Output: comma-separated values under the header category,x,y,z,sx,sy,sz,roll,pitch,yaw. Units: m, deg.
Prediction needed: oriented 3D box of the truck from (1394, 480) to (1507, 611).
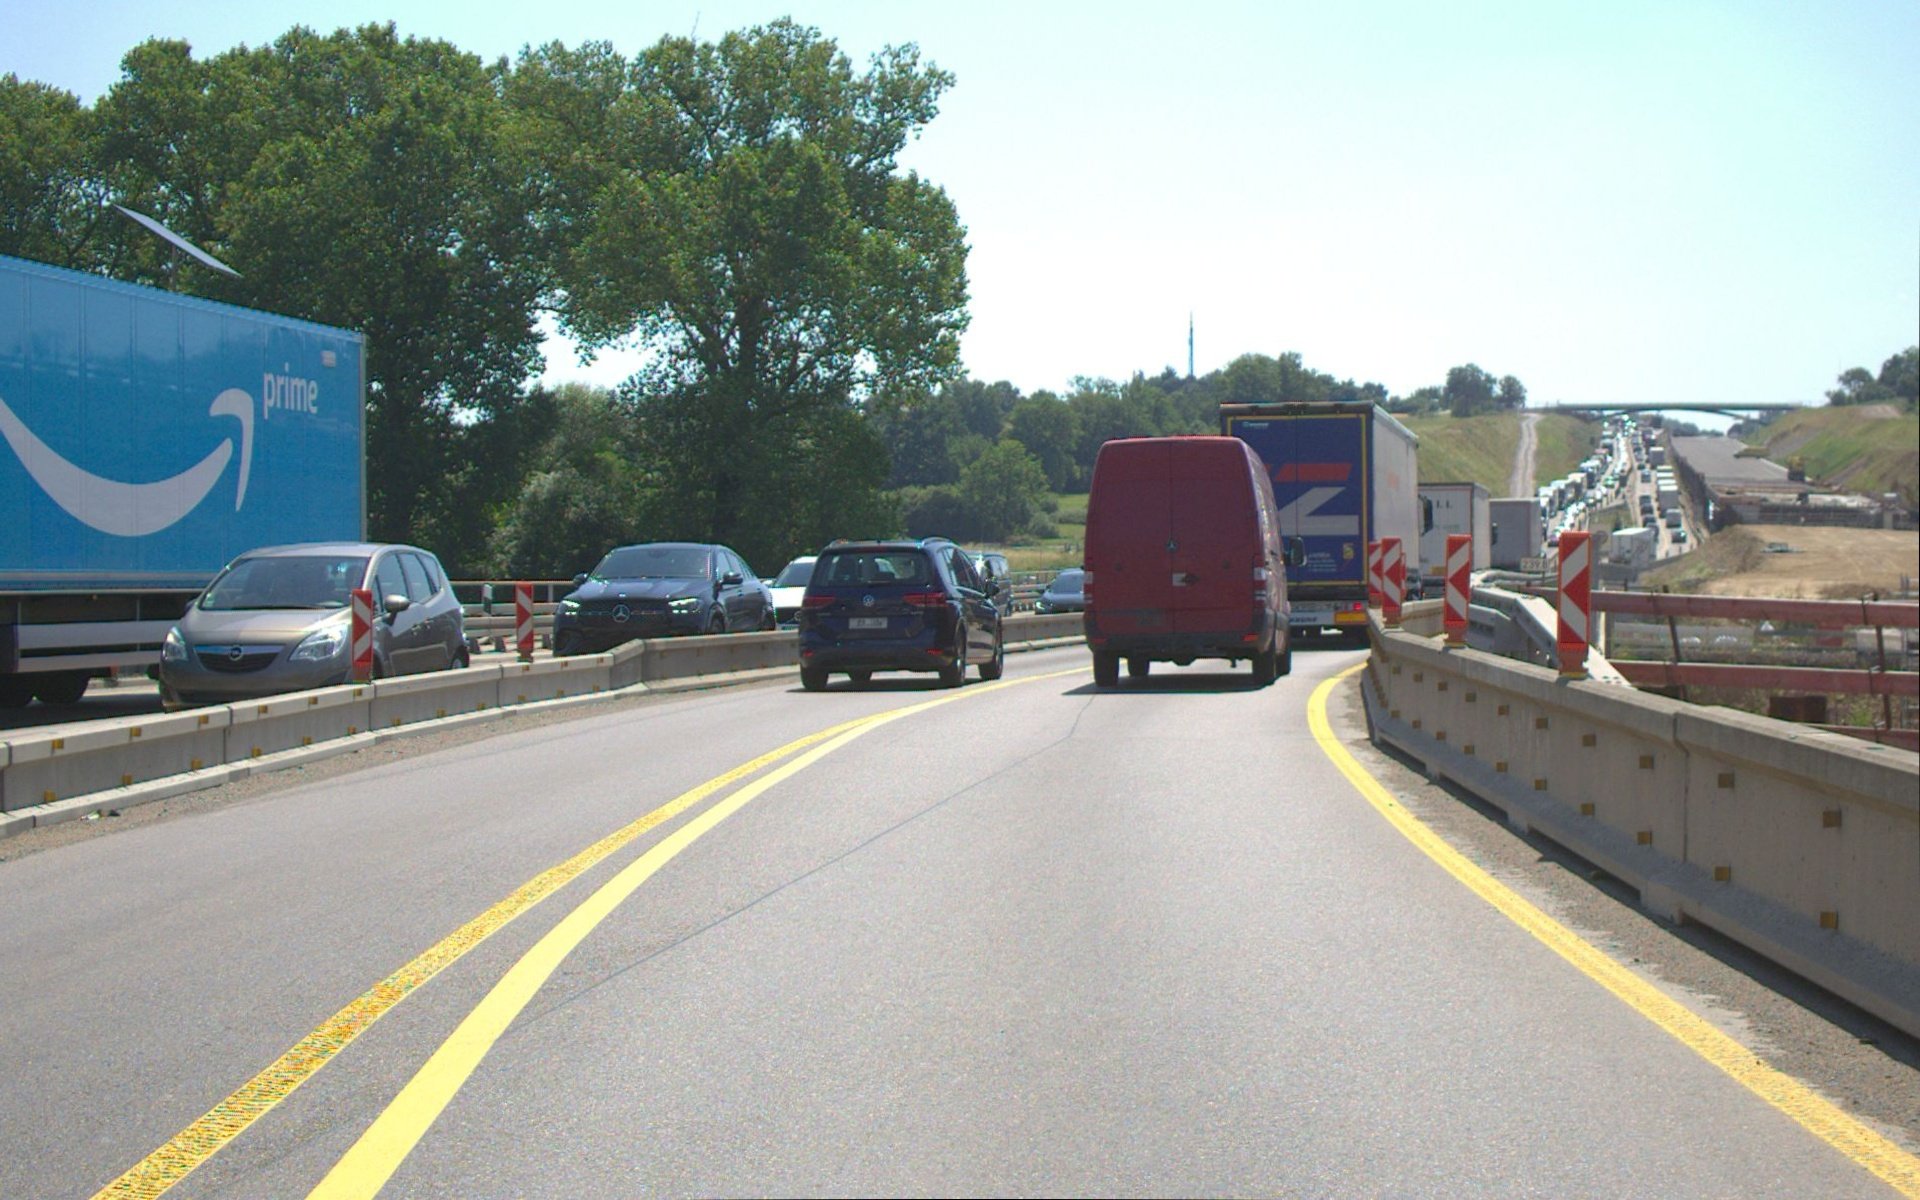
category,x,y,z,sx,sy,sz,roll,pitch,yaw
truck,15.493,-1.683,108.266,3.183,3.976,6.738,0,0,11

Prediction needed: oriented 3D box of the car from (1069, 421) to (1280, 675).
category,x,y,z,sx,sy,sz,roll,pitch,yaw
car,2.433,-0.490,38.381,2.150,2.602,5.437,1,-1,5

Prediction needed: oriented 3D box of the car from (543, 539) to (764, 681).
category,x,y,z,sx,sy,sz,roll,pitch,yaw
car,-3.761,0.073,42.942,1.881,1.641,4.714,0,1,6

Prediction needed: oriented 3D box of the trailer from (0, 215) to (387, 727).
category,x,y,z,sx,sy,sz,roll,pitch,yaw
trailer,-8.812,-1.081,32.277,2.648,4.278,13.303,1,0,9

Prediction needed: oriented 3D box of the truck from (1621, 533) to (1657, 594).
category,x,y,z,sx,sy,sz,roll,pitch,yaw
truck,46.300,-2.473,234.358,2.292,3.726,6.478,0,-3,10

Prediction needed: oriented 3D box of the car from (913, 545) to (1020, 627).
category,x,y,z,sx,sy,sz,roll,pitch,yaw
car,0.193,-0.359,84.478,1.821,1.936,5.062,0,1,10

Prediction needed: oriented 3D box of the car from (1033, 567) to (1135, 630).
category,x,y,z,sx,sy,sz,roll,pitch,yaw
car,2.798,-0.046,76.690,1.669,1.360,4.438,0,1,10

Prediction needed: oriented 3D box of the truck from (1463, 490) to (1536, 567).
category,x,y,z,sx,sy,sz,roll,pitch,yaw
truck,25.522,-3.332,162.291,3.185,2.967,8.894,0,-3,10

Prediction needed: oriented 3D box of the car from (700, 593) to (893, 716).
category,x,y,z,sx,sy,sz,roll,pitch,yaw
car,-2.487,0.805,53.396,1.821,1.641,4.568,1,2,13

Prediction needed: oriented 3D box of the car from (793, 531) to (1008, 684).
category,x,y,z,sx,sy,sz,roll,pitch,yaw
car,-0.614,0.042,39.079,1.734,1.630,4.388,0,1,9

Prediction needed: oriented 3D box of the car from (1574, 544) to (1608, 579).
category,x,y,z,sx,sy,sz,roll,pitch,yaw
car,31.179,-1.900,169.819,1.618,1.694,3.888,0,1,10

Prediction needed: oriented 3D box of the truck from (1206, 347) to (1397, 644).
category,x,y,z,sx,sy,sz,roll,pitch,yaw
truck,6.114,-1.750,60.644,2.946,4.929,6.739,0,0,9

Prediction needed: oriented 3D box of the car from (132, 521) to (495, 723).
category,x,y,z,sx,sy,sz,roll,pitch,yaw
car,-5.492,0.176,29.784,1.821,1.579,4.300,1,0,7

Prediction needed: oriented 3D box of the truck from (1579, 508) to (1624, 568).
category,x,y,z,sx,sy,sz,roll,pitch,yaw
truck,35.393,-3.402,189.763,2.292,3.185,6.480,0,1,9
